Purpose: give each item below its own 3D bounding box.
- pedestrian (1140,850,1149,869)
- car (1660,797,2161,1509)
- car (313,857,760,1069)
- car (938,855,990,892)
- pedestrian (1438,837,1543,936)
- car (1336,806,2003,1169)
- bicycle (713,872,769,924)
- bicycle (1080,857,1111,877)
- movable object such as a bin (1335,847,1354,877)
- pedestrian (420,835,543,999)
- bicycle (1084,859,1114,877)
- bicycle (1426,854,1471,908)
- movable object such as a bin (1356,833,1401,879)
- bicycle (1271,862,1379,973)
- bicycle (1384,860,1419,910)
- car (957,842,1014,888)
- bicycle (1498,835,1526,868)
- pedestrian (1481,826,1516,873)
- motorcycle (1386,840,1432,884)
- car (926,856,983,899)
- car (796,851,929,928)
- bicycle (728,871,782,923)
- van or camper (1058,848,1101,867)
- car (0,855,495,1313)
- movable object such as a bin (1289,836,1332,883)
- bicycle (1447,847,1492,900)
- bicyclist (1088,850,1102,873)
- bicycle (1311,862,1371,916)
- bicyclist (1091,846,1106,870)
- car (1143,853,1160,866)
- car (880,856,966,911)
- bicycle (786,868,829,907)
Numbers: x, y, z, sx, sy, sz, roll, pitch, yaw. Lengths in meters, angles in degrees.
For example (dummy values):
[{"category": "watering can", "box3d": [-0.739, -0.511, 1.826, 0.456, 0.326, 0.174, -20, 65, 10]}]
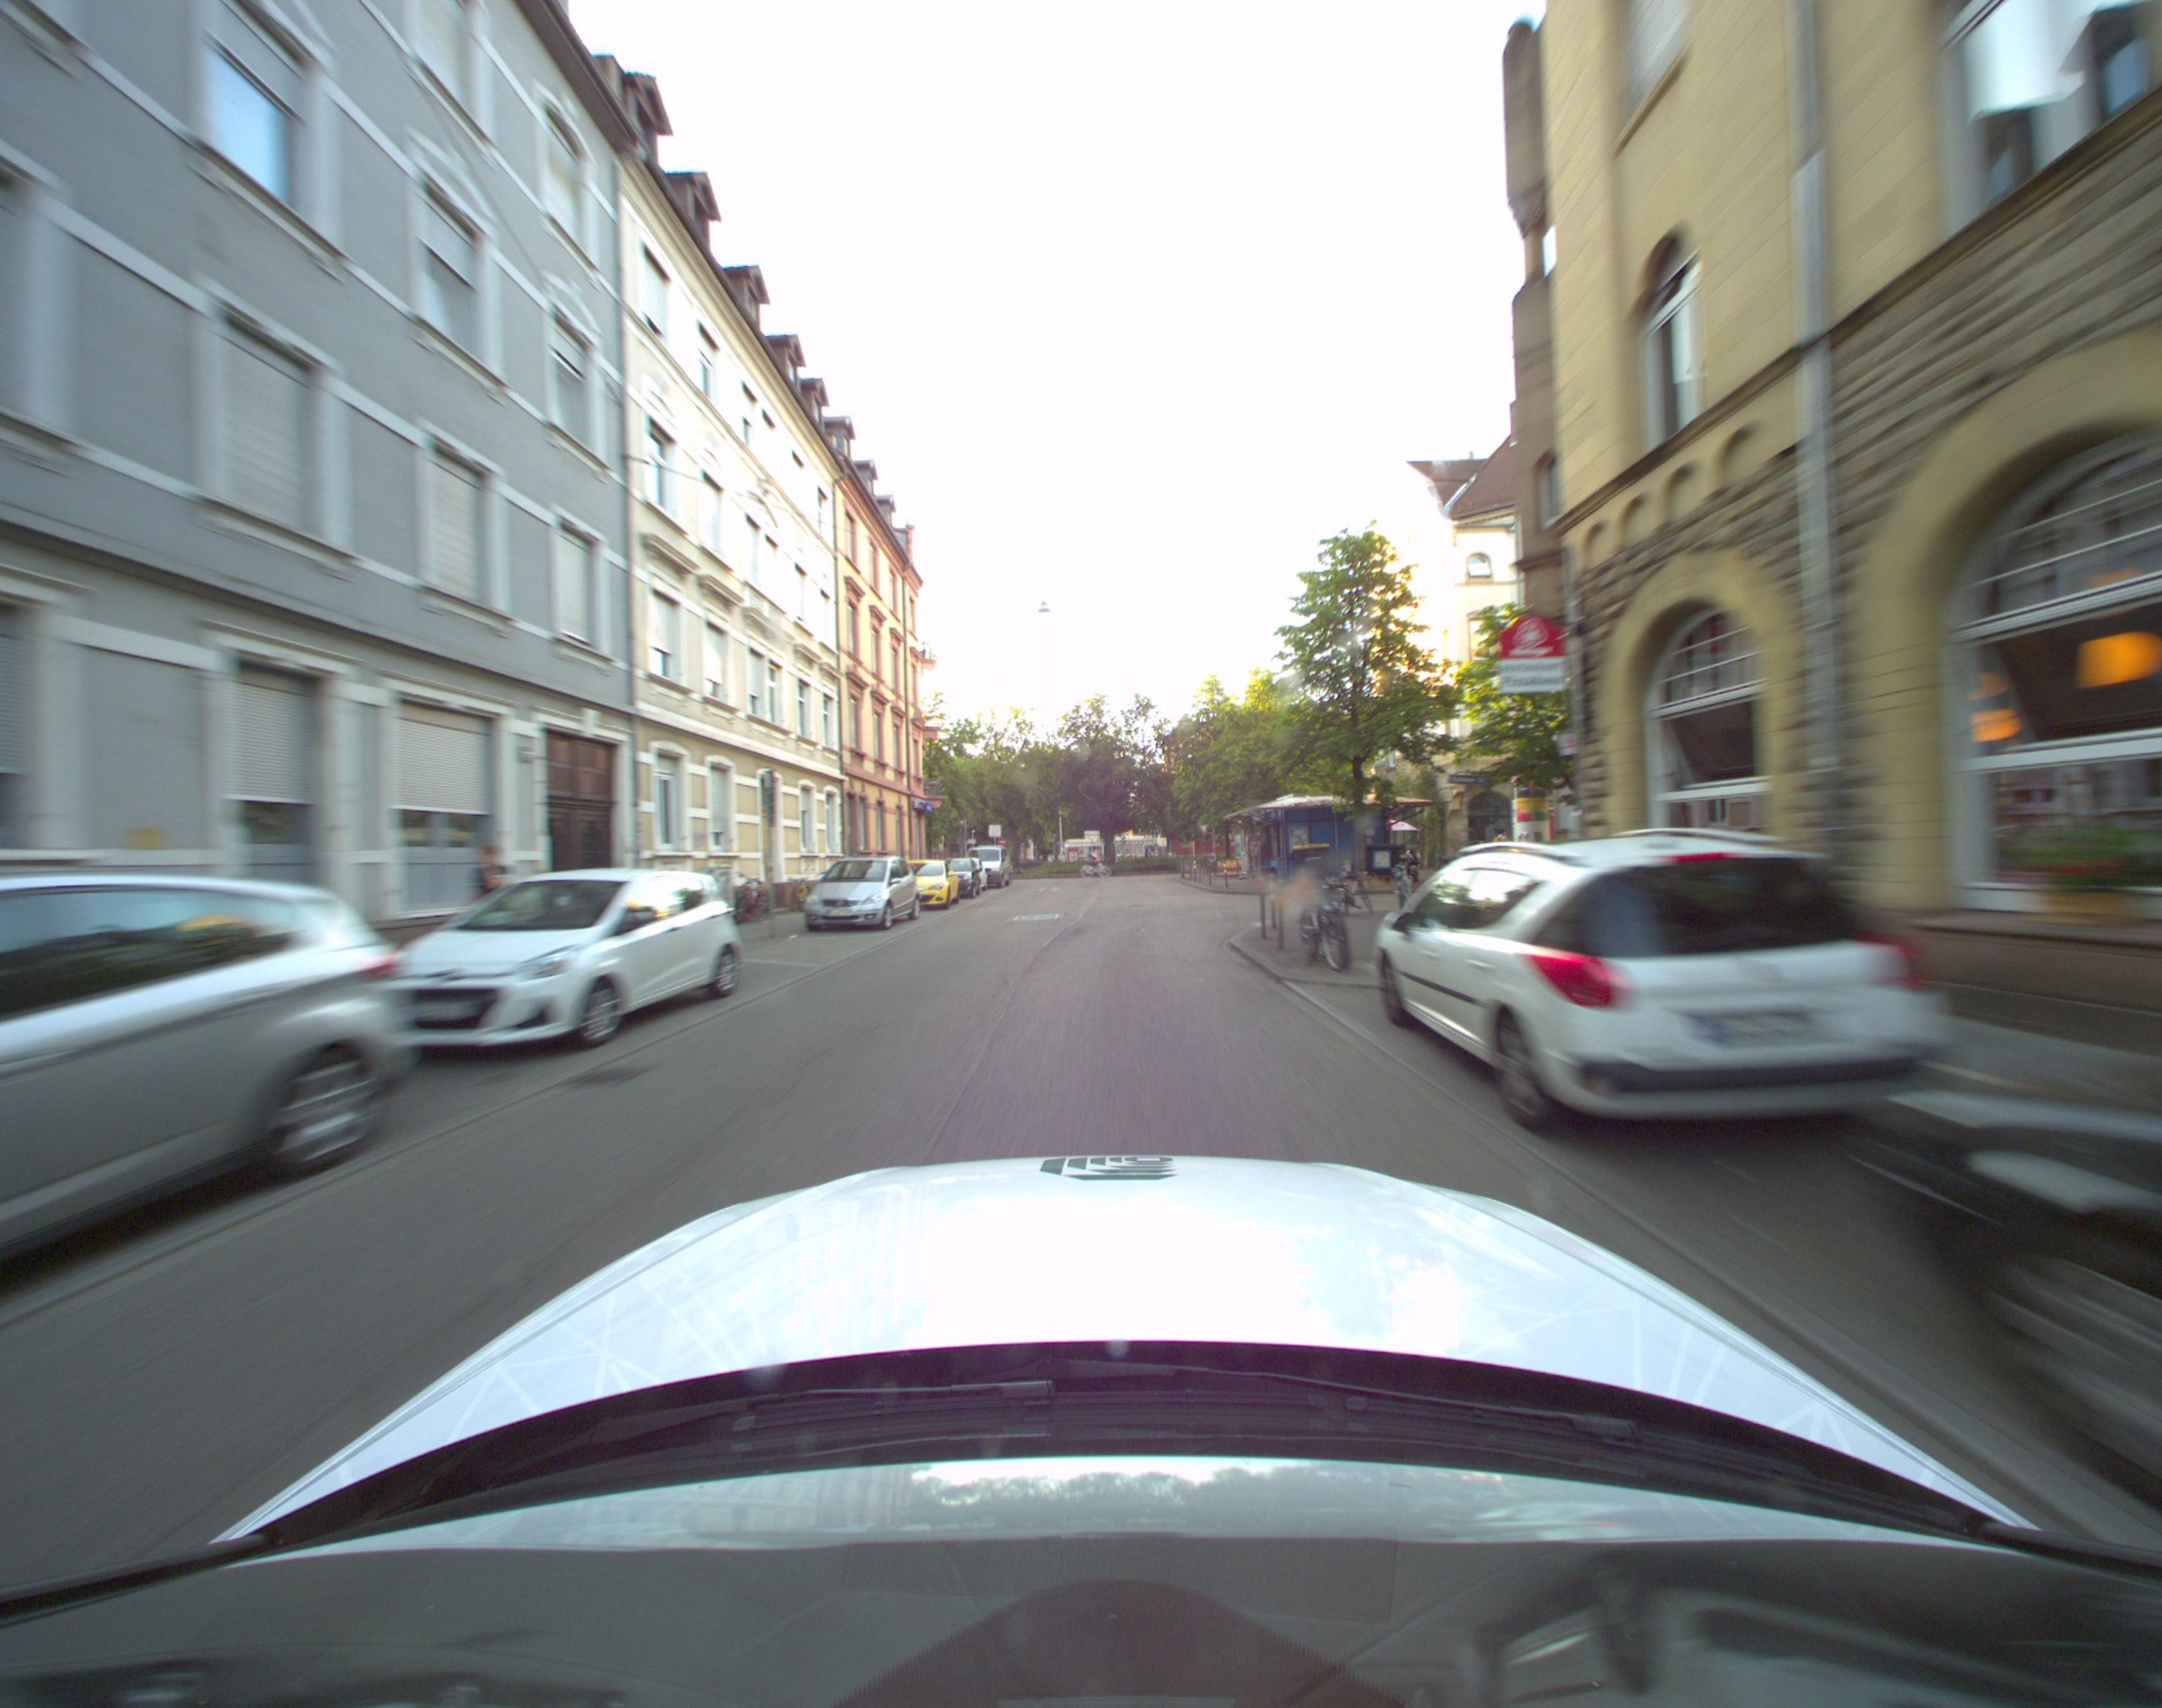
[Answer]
[{"category": "pedestrian", "box3d": [4.828, 0.410, 61.630, 0.614, 1.431, 0.656, -2, 0, 2]}, {"category": "car", "box3d": [3.203, 0.608, 0.834, 1.759, 1.484, 4.553, -5, 0, -2]}, {"category": "car", "box3d": [-4.902, 0.834, 8.134, 1.747, 1.576, 3.928, 0, 0, 1]}, {"category": "car", "box3d": [-4.932, 0.797, 34.773, 1.678, 1.491, 3.613, 0, 0, 0]}, {"category": "pedestrian", "box3d": [5.903, 0.447, 11.719, 1.427, 1.285, 0.831, -3, -1, -42]}, {"category": "car", "box3d": [3.275, 0.580, 5.833, 1.755, 1.484, 4.470, -5, 0, 5]}, {"category": "bicycle", "box3d": [-8.246, 1.037, 19.840, 0.478, 1.140, 1.864, -2, 0, 2]}, {"category": "bicycle", "box3d": [0.862, 0.785, 49.381, 1.823, 1.070, 0.708, -2, 0, -2]}, {"category": "movable object such as a bin", "box3d": [8.937, 0.263, 27.657, 0.478, 1.001, 0.487, -2, 0, 2]}, {"category": "pedestrian", "box3d": [-7.515, 0.764, 10.244, 0.845, 1.949, 0.834, -2, 0, 4]}, {"category": "bicycle", "box3d": [1.150, 0.866, 52.021, 1.821, 1.070, 0.709, -2, 0, 2]}, {"category": "bicycle", "box3d": [7.802, 0.553, 17.332, 0.508, 1.066, 1.841, -2, 0, 14]}, {"category": "movable object such as a bin", "box3d": [10.066, 0.060, 27.602, 1.274, 1.475, 0.822, 2, 1, 9]}, {"category": "bicycle", "box3d": [2.985, 0.723, 10.195, 0.681, 1.151, 2.116, -5, 0, 2]}, {"category": "bicycle", "box3d": [6.830, 0.645, 17.424, 0.443, 0.979, 1.712, -2, 0, 14]}, {"category": "car", "box3d": [-4.539, 0.489, 39.383, 2.033, 2.057, 5.006, 0, 0, 1]}, {"category": "bicycle", "box3d": [16.723, -0.102, 31.573, 0.627, 1.188, 1.926, -4, -1, 37]}, {"category": "pedestrian", "box3d": [16.417, -0.185, 32.042, 0.967, 1.789, 1.012, -4, -1, 37]}, {"category": "motorcycle", "box3d": [11.473, 0.253, 28.576, 0.864, 1.453, 1.883, -2, 0, 2]}, {"category": "car", "box3d": [-4.695, 0.847, 30.702, 1.725, 1.491, 3.738, 0, 0, -3]}, {"category": "car", "box3d": [-4.906, 0.726, 18.899, 1.793, 1.592, 4.147, 0, 0, 2]}, {"category": "bicycle", "box3d": [-7.908, 1.011, 19.836, 0.478, 1.140, 1.864, -2, 0, 2]}, {"category": "van or camper", "box3d": [-0.237, 0.591, 141.551, 7.350, 3.083, 2.670, -1, -1, -4]}, {"category": "car", "box3d": [-4.706, 0.813, 2.972, 1.828, 1.592, 4.670, 0, 0, -2]}, {"category": "movable object such as a bin", "box3d": [7.787, 0.167, 27.647, 1.214, 1.475, 0.768, -5, 0, 9]}, {"category": "bicycle", "box3d": [8.342, 0.388, 17.529, 0.471, 1.070, 1.841, -2, 0, 14]}, {"category": "bicyclist", "box3d": [0.846, 0.452, 49.392, 0.734, 1.358, 0.708, -2, 0, -1]}, {"category": "bicycle", "box3d": [5.388, 0.708, 16.836, 1.483, 1.039, 0.427, -2, -1, -41]}, {"category": "bicyclist", "box3d": [1.135, 0.277, 52.027, 0.912, 1.502, 0.709, -2, 0, 2]}, {"category": "car", "box3d": [9.922, 0.760, 114.907, 1.987, 1.704, 4.719, -1, 0, 0]}, {"category": "car", "box3d": [-4.781, 0.828, 25.349, 1.833, 1.526, 4.799, 0, 0, -1]}, {"category": "bicycle", "box3d": [-8.123, 0.975, 24.261, 0.660, 1.070, 1.833, -2, 0, -1]}]
